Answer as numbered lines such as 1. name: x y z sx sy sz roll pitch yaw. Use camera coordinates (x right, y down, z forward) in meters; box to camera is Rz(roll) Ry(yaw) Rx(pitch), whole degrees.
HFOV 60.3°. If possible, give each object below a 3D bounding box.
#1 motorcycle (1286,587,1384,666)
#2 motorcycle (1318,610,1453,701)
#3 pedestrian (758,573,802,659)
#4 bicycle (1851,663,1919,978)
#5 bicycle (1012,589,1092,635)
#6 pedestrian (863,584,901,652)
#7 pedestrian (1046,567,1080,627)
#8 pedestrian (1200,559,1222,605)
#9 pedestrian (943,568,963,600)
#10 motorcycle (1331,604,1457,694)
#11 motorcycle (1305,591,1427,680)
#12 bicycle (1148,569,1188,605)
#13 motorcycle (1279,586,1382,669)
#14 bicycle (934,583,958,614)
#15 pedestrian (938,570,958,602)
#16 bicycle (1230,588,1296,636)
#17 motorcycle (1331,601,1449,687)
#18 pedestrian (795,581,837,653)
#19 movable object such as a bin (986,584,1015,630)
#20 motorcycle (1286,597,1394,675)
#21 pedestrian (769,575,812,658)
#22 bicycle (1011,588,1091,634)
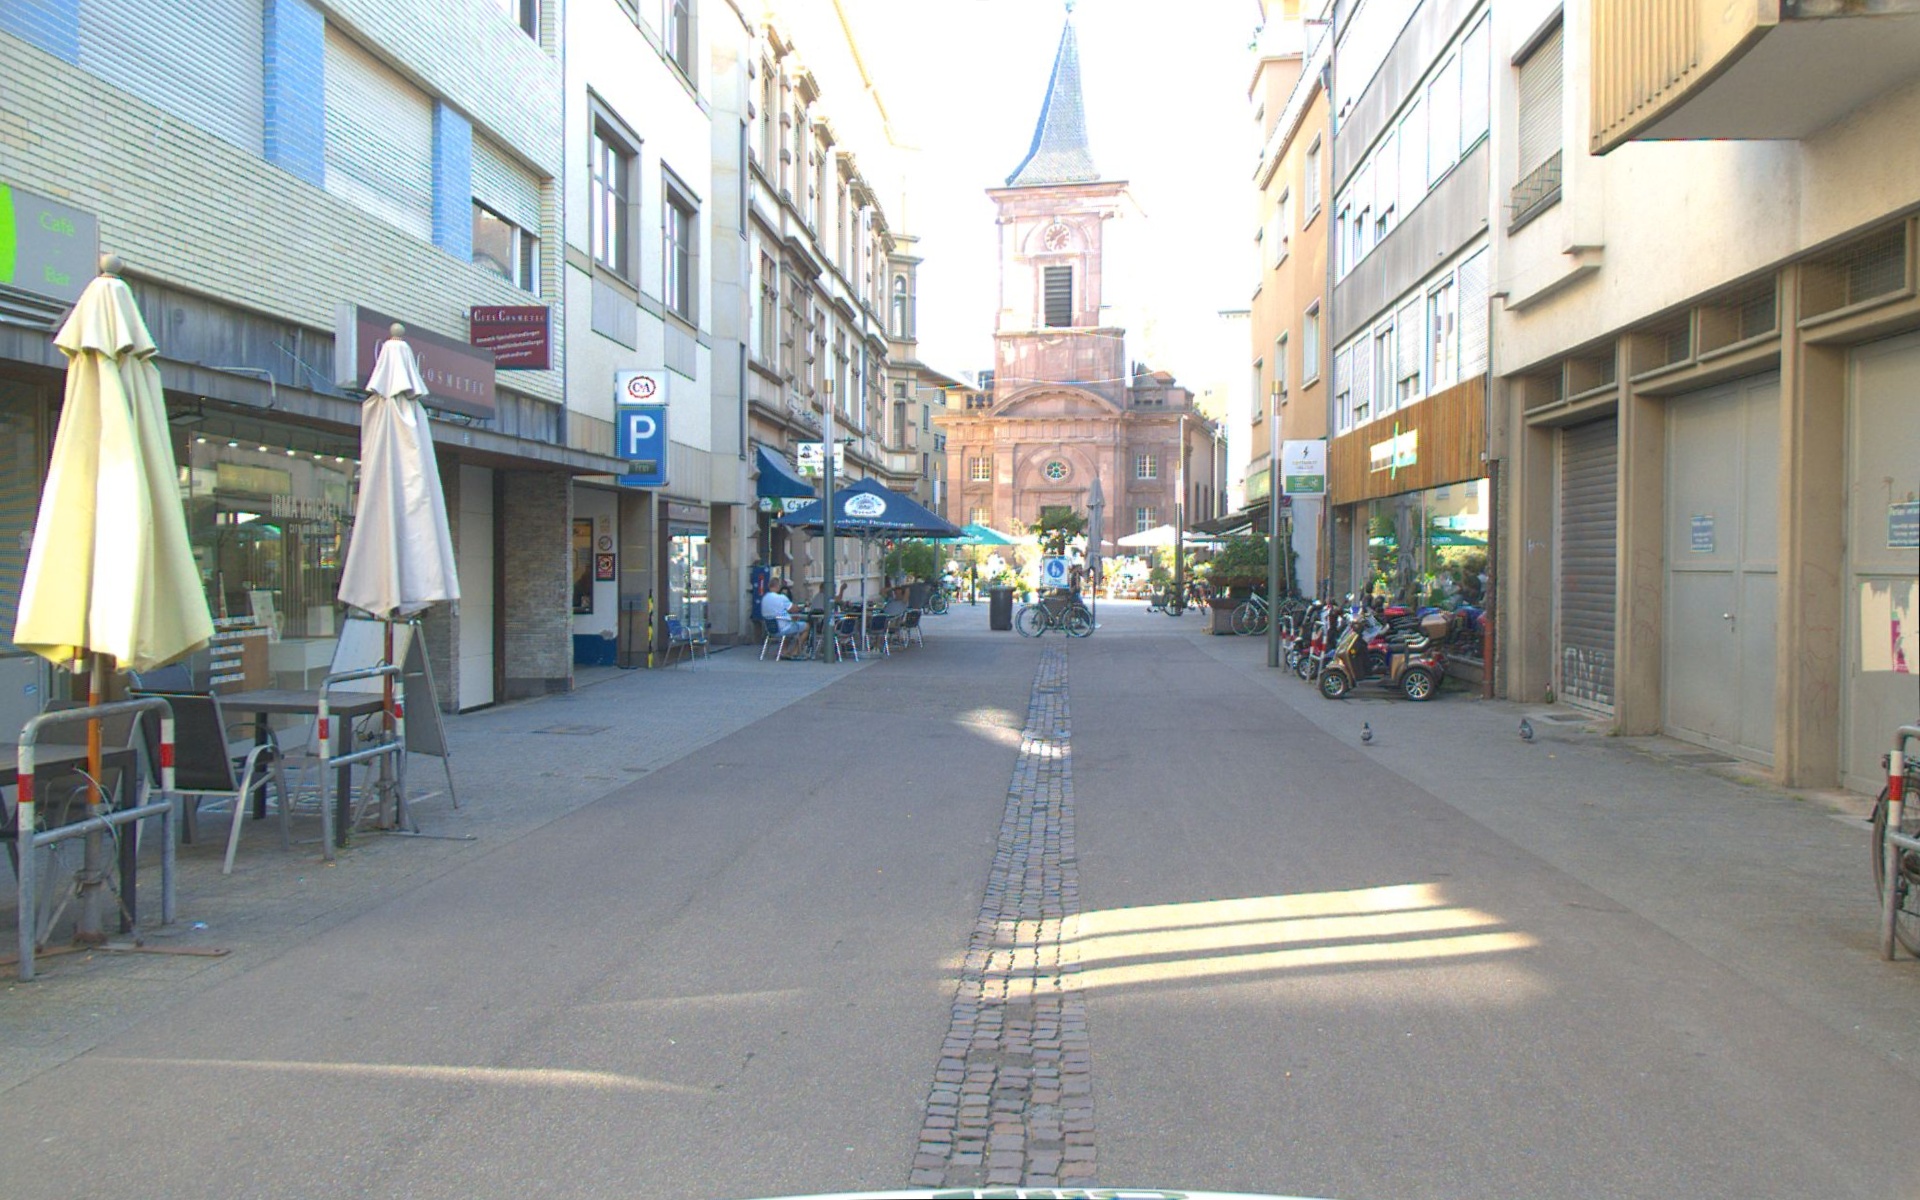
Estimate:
1. motorcycle: 5.807 0.410 25.619 1.452 1.202 0.412 0 1 19
2. motorcycle: 5.127 0.657 19.950 1.532 1.060 0.372 0 1 22
3. pedestrian: -2.957 0.256 27.110 0.695 1.392 0.718 0 1 -9
4. bicycle: 3.806 0.843 6.007 0.437 1.160 1.711 1 0 8
5. bicycle: 2.056 0.267 37.120 1.786 1.022 0.381 0 1 0
6. pedestrian: -1.439 0.323 30.490 0.678 1.236 0.583 0 1 -5
7. pedestrian: 2.599 -0.088 41.654 0.865 1.489 0.731 0 1 4
8. pedestrian: 8.765 -0.638 57.727 0.767 1.583 0.535 0 1 8
9. pedestrian: -0.271 -0.624 65.293 0.685 1.239 0.720 0 1 9
10. motorcycle: 5.418 0.598 20.651 1.485 1.094 0.412 0 1 22
11. motorcycle: 5.616 0.479 22.910 1.591 1.195 0.480 0 1 22
12. bicycle: 7.877 -0.500 62.656 1.566 1.330 0.363 0 1 -26
13. motorcycle: 5.513 0.401 24.614 1.452 1.202 0.412 0 1 19
14. bicycle: -0.421 -0.053 49.615 0.447 0.864 2.148 0 1 7
15. pedestrian: -0.461 -0.534 63.871 0.685 1.239 0.720 0 1 9
16. bicycle: 6.678 0.261 36.455 1.432 1.022 0.573 0 1 10
17. motorcycle: 5.633 0.561 21.671 1.453 1.094 0.412 0 1 22
18. pedestrian: -2.592 0.297 29.814 0.750 1.254 0.831 0 1 -5
19. movable object such as a bin: 0.998 0.169 40.497 0.706 1.093 0.374 0 1 2
20. motorcycle: 5.452 0.509 23.740 1.453 1.094 0.412 0 1 22
21. pedestrian: -2.889 0.270 28.193 0.704 1.392 0.709 0 1 -9
22. bicycle: 2.058 0.248 37.521 1.786 1.022 0.381 0 1 0
